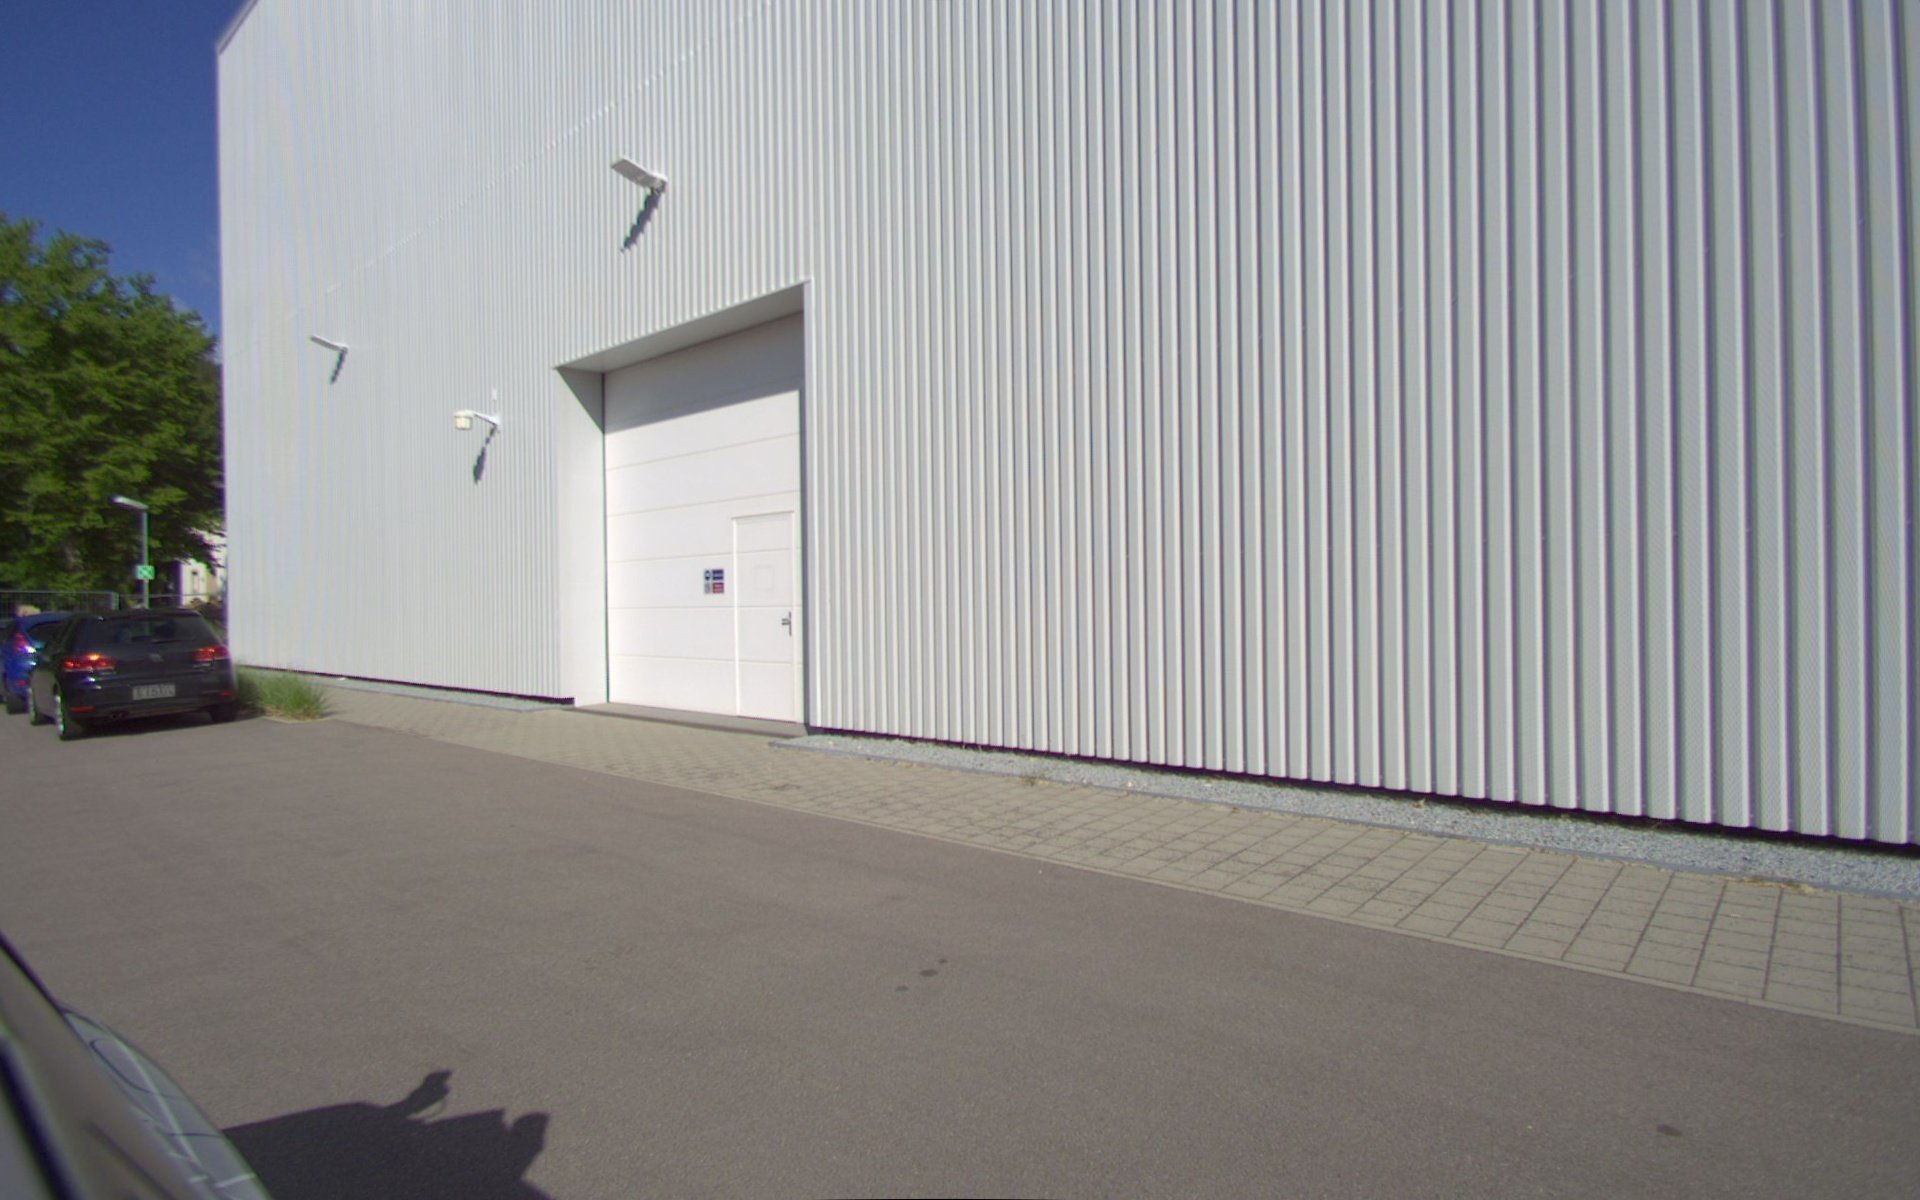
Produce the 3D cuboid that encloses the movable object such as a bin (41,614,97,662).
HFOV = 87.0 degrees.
[{"bbox_3d":[-28.459,1.206,32.327,1.228,1.443,1.080,0,2,36],"label":"movable object such as a bin"}]

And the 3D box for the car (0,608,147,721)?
[{"bbox_3d":[-14.644,0.950,16.299,4.092,1.511,1.614,-1,2,40],"label":"car"}]

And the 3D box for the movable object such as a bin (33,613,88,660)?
[{"bbox_3d":[-29.485,1.190,33.178,1.228,1.450,1.080,0,2,36],"label":"movable object such as a bin"}]

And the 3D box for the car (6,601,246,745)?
[{"bbox_3d":[-10.913,0.830,13.135,4.292,1.511,1.736,-1,1,42],"label":"car"}]

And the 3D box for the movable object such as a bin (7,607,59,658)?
[{"bbox_3d":[-31.215,1.074,34.076,1.228,1.609,1.080,1,1,36],"label":"movable object such as a bin"}]

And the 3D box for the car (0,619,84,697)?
[{"bbox_3d":[-18.752,1.088,19.870,4.051,1.371,1.756,-1,0,41],"label":"car"}]
